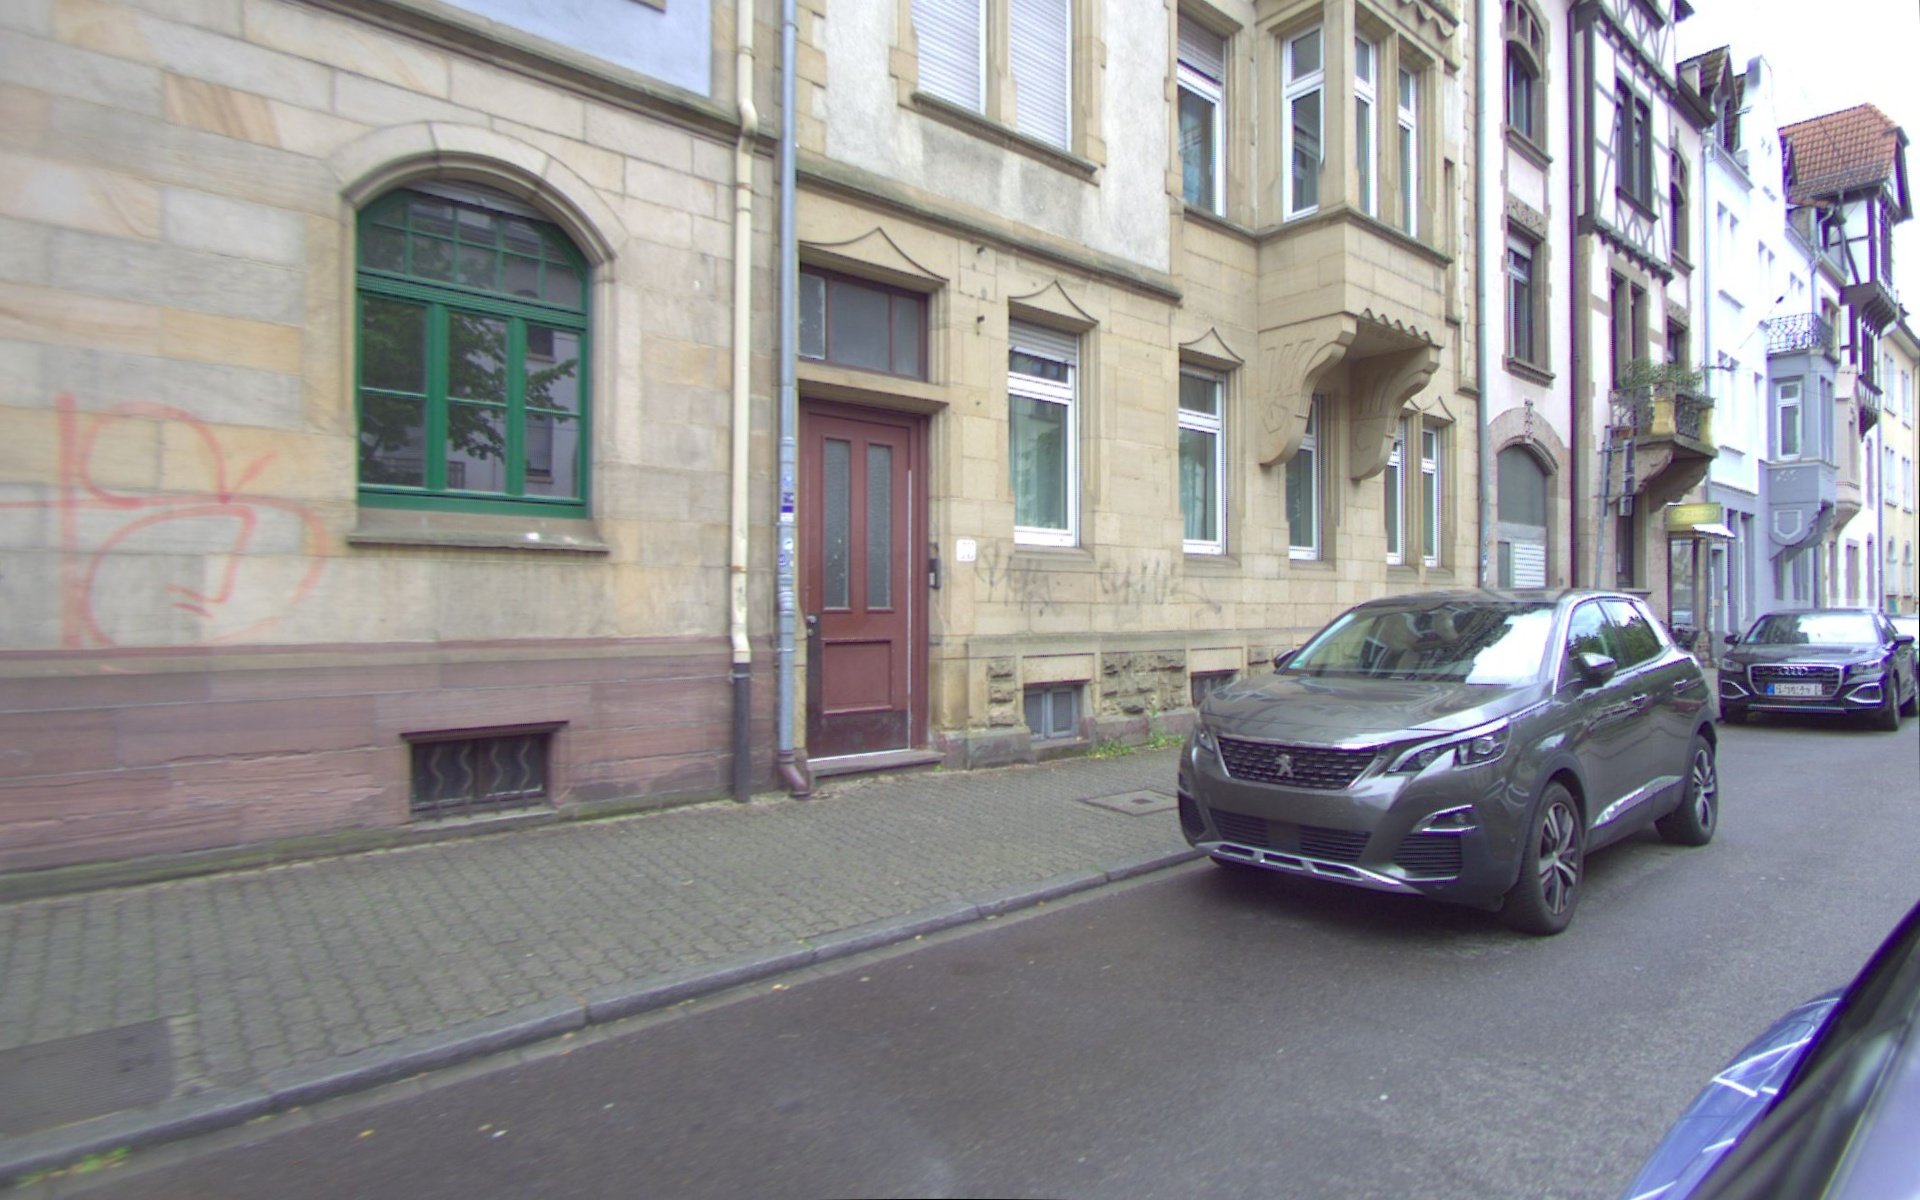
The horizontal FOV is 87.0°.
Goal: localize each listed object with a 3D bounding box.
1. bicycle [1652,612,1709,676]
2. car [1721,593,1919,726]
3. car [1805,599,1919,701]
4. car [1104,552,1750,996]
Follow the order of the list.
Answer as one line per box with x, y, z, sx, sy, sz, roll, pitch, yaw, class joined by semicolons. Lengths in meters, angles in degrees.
13.534;0.800;18.999;1.560;1.111;0.422;0;4;-40;bicycle
11.967;0.734;13.776;4.343;1.533;1.699;0;-4;-42;car
15.743;0.783;16.957;4.315;1.533;1.700;0;-4;-41;car
3.027;0.658;5.966;4.613;1.643;1.761;0;-1;-42;car
